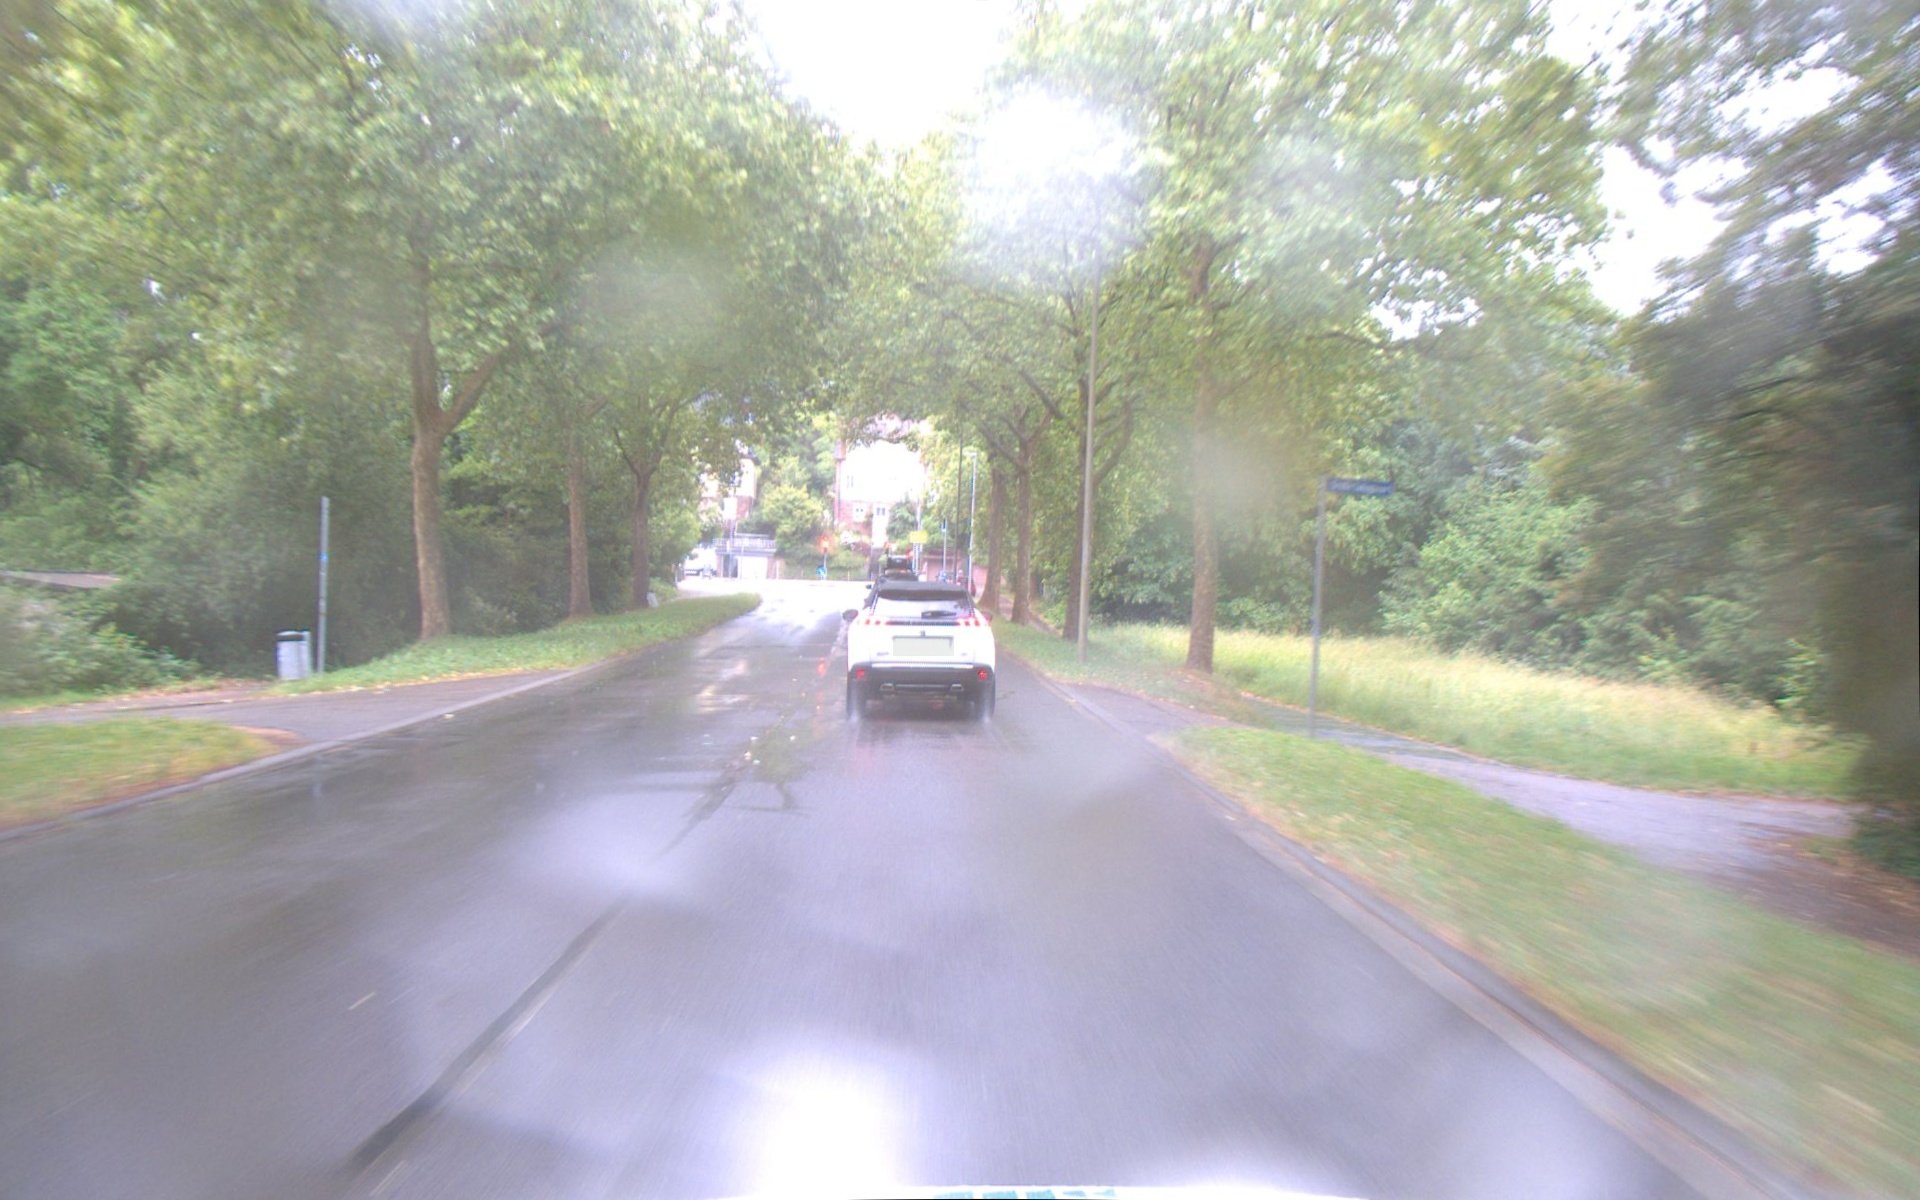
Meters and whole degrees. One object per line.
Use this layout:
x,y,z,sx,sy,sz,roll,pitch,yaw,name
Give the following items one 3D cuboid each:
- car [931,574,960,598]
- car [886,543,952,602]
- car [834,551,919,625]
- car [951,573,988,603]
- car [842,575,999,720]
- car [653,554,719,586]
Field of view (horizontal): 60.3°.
-1.082,-1.005,118.448,1.715,1.517,3.597,5,0,-5,car
-1.384,-0.948,54.228,1.726,1.740,4.596,3,2,-6,car
-1.991,-0.346,39.430,1.796,1.481,4.656,5,2,-3,car
0.626,-0.828,108.852,1.787,1.542,3.739,9,2,-7,car
-0.598,0.499,20.670,1.718,1.562,4.364,1,1,-4,car
-24.688,-2.726,149.224,5.548,2.537,2.314,3,-1,-3,car
